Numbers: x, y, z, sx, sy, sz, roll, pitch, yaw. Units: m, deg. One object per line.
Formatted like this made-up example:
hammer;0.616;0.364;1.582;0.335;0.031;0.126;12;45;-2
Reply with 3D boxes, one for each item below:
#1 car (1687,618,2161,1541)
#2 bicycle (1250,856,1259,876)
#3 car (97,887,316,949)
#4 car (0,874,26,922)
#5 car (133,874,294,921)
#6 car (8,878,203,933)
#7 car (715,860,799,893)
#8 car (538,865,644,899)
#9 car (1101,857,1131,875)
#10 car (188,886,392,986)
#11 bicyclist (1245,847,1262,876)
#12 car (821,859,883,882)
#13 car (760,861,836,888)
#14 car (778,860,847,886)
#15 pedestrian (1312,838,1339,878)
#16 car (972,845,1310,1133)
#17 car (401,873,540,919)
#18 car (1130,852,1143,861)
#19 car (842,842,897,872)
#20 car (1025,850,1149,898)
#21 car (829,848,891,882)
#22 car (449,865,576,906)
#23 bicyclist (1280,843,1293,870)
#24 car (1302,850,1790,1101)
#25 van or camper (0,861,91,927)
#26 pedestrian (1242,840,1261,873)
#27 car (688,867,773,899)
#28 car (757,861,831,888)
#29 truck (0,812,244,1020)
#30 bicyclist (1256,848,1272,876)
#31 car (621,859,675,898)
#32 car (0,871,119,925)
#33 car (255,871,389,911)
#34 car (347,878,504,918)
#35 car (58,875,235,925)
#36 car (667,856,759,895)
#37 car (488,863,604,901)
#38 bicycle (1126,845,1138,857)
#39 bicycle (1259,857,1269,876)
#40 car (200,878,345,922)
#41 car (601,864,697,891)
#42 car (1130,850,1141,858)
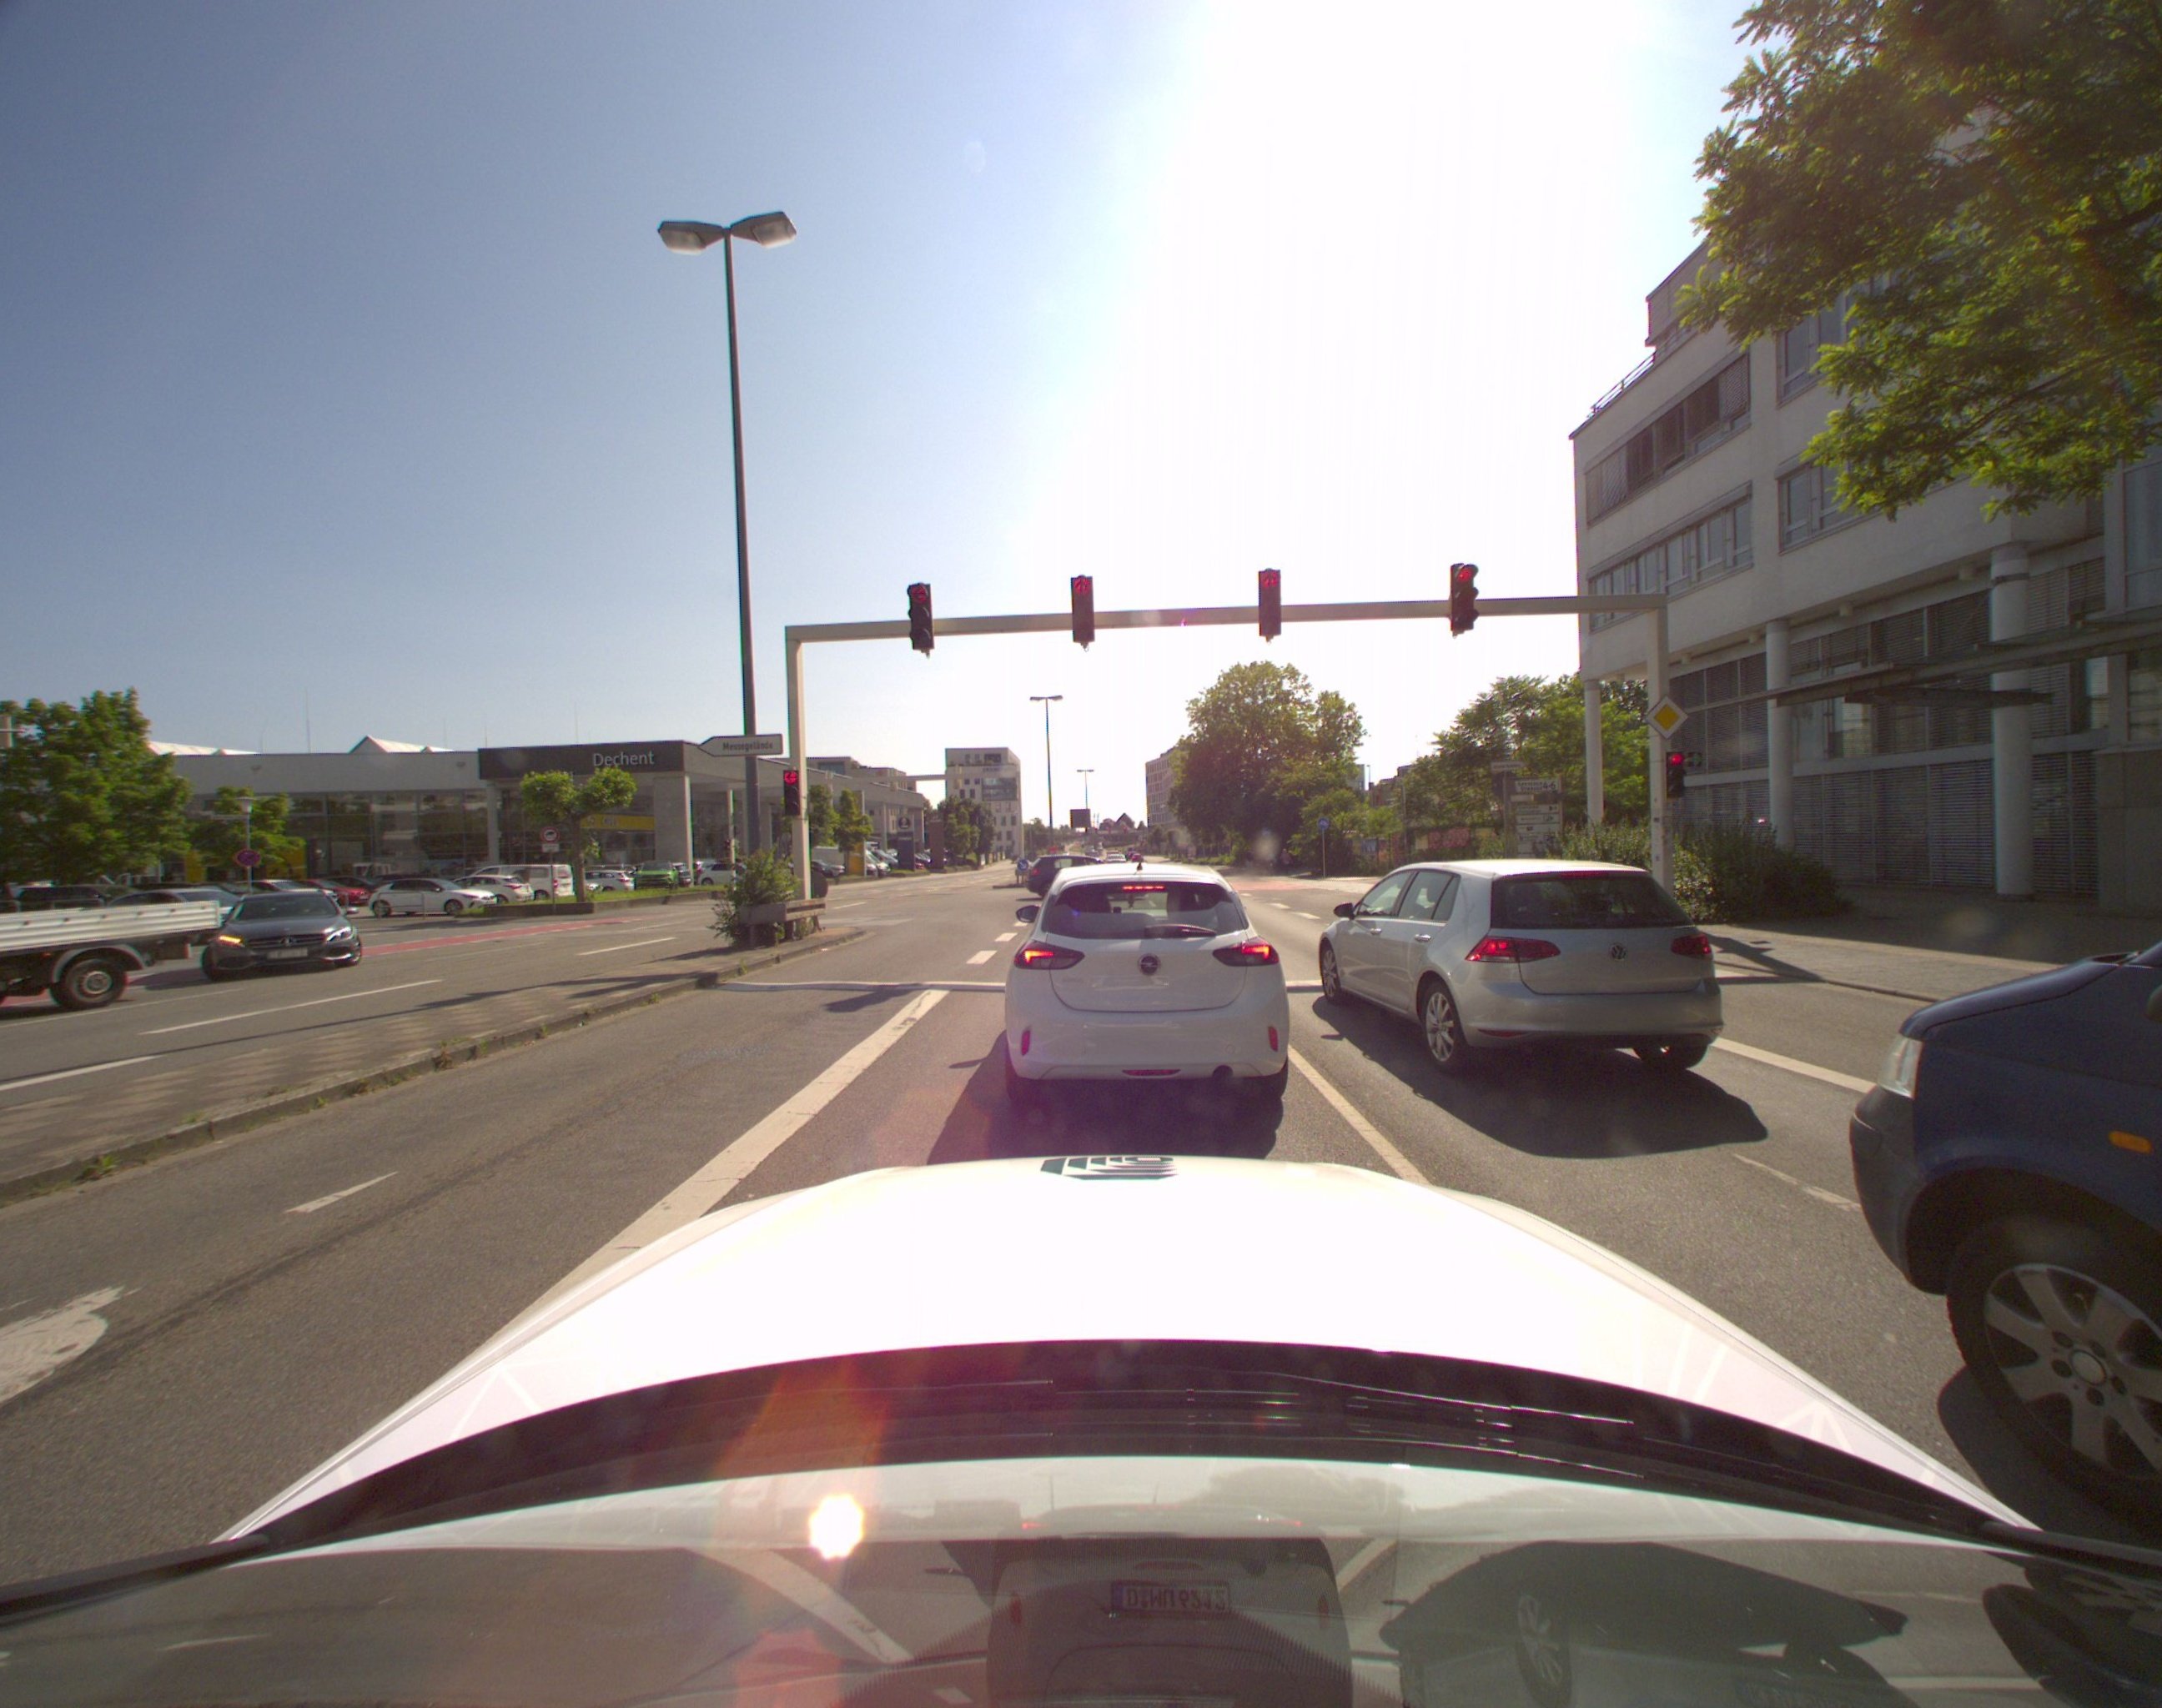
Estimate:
car;3.224;0.443;0.583;1.986;1.948;4.892;-2;-1;2
bicycle;10.955;0.744;51.505;0.371;1.216;1.154;0;0;2
car;-23.987;1.726;22.475;3.896;1.438;1.775;-2;0;-5
car;-40.601;1.646;28.308;4.371;1.696;1.987;-2;0;-20
car;-36.362;1.801;34.234;4.348;1.696;1.997;-2;0;-4
car;-35.159;1.813;29.465;4.348;1.696;1.997;-2;0;-4
car;-19.663;1.341;49.571;4.284;1.765;1.999;-2;0;-1
car;-26.155;1.491;43.576;4.352;1.591;1.996;-2;0;-7
car;2.628;0.910;62.182;1.988;1.331;3.997;0;-1;-1
car;-14.908;1.428;15.656;1.969;1.427;4.538;-1;0;-33
bicyclist;10.909;0.477;51.508;0.876;1.772;0.864;-2;0;1
car;-18.502;1.334;65.892;4.334;1.696;2.004;-2;0;6
car;-18.980;1.349;54.699;4.343;1.696;1.999;-2;0;-1
car;-19.785;1.363;60.145;4.344;1.696;1.999;-2;0;-1
pedestrian;12.425;0.196;41.423;1.023;2.013;1.039;-2;0;1
car;0.379;0.730;6.386;1.773;1.494;4.001;-2;0;2
car;-26.176;1.771;35.053;4.348;1.696;1.997;-2;0;-4
car;8.706;0.388;128.339;1.799;1.386;4.001;0;-1;2
car;-19.094;0.266;73.678;4.334;2.601;2.004;-2;0;6
car;0.145;0.646;27.644;3.983;1.442;1.995;-2;0;-7
car;-18.513;0.936;68.351;4.469;2.684;2.134;-2;0;10
car;-26.545;1.437;38.177;4.353;1.696;1.995;-2;0;-7
bicyclist;12.734;0.168;50.574;0.650;1.637;0.660;0;-1;1
car;3.321;0.739;6.862;1.801;1.429;3.999;-2;-1;0
van or camper;-41.945;1.567;31.331;4.711;2.400;1.995;-2;0;-8
pedestrian;11.539;0.173;55.194;1.023;2.238;1.039;-2;0;1
car;-20.098;1.650;46.873;3.981;1.599;1.996;-2;0;-6
car;-20.020;1.435;56.949;4.344;1.696;1.999;-2;0;-1
truck;-14.482;0.841;9.494;2.346;2.545;6.445;-4;0;4
bicyclist;11.191;0.487;49.707;0.687;1.643;0.775;-2;0;-7
car;-21.251;1.213;39.947;1.915;1.733;3.258;-2;-1;-35
car;-43.161;1.817;33.689;3.984;2.013;1.995;-2;0;-8
car;-36.617;1.772;39.405;4.352;1.696;1.995;-2;0;-7
car;-25.535;1.698;31.851;4.348;1.300;1.997;-2;0;-4
car;-36.541;1.775;31.959;4.348;1.696;1.997;-2;0;-4
car;-19.257;1.089;42.768;3.859;1.837;1.999;-2;0;-1
car;-26.704;1.379;40.794;4.353;1.696;1.995;-2;0;-7
bicycle;9.758;-0.531;155.565;1.986;2.157;4.001;-2;0;1
bicycle;11.162;0.746;49.649;0.372;1.147;1.034;0;-1;0
car;-36.634;2.054;37.006;4.348;1.696;1.997;-2;0;-4
car;-24.701;1.370;46.670;4.352;1.268;1.995;-3;-2;-7
car;9.521;0.043;141.884;1.799;1.386;4.001;0;-1;2
